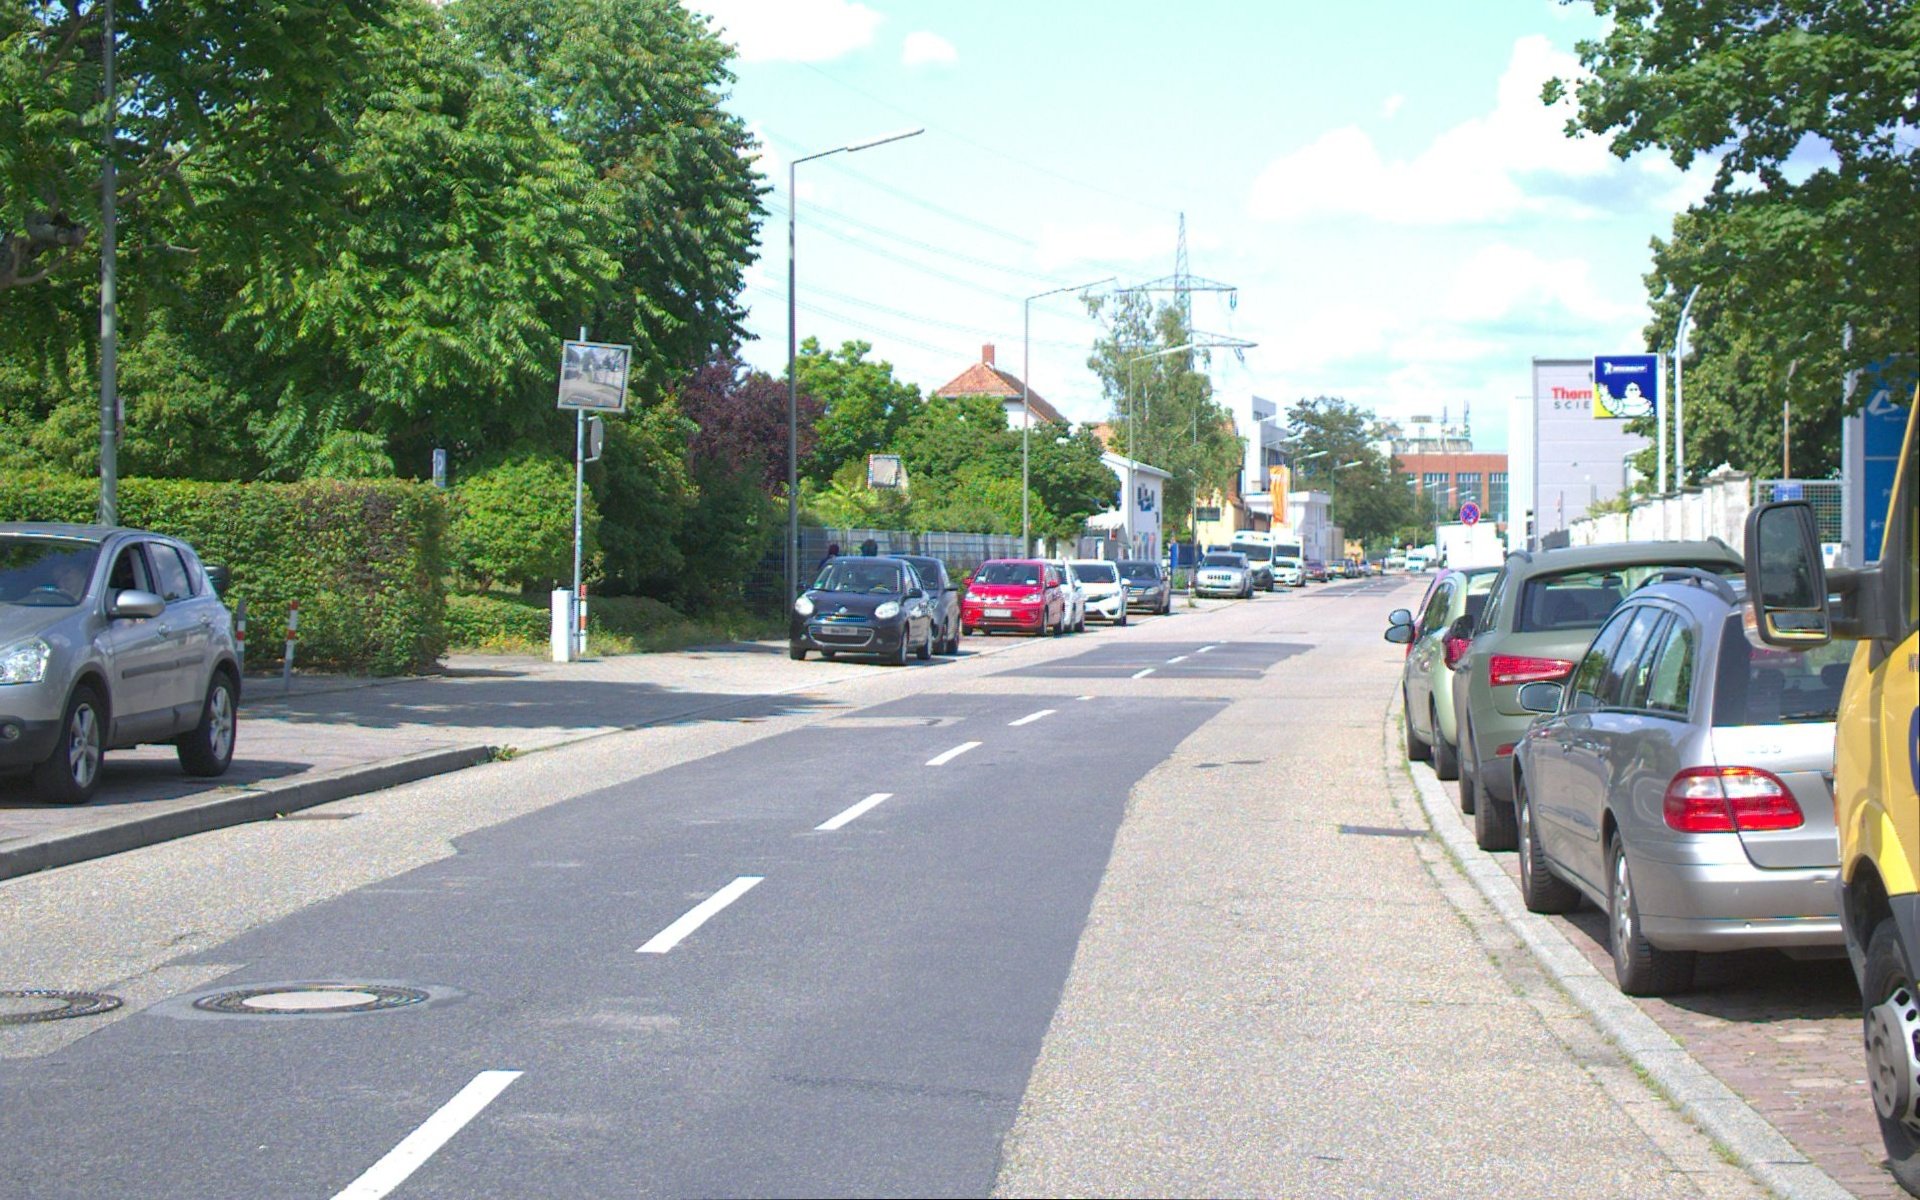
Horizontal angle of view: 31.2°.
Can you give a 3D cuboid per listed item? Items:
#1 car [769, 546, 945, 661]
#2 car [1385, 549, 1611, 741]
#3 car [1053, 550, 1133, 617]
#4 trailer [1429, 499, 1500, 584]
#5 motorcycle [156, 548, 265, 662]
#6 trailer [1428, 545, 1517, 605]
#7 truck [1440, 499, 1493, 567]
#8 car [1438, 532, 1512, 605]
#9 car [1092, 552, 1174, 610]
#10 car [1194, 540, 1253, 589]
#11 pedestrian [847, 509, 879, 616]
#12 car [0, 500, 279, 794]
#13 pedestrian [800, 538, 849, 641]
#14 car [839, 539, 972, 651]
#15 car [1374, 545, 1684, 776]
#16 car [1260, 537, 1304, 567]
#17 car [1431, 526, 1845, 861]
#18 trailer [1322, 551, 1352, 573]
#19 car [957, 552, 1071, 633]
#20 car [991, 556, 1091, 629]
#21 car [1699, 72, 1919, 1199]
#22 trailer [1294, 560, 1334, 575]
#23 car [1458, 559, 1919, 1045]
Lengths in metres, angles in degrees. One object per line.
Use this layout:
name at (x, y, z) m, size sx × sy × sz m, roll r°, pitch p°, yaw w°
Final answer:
car at (-1.455, 0.016, 50.279) m, size 1.845 × 1.503 × 3.999 m, roll 3°, pitch 1°, yaw 8°
car at (4.717, 0.344, 30.339) m, size 1.754 × 1.481 × 4.223 m, roll -3°, pitch 0°, yaw 8°
car at (3.136, -0.407, 80.529) m, size 1.620 × 1.517 × 4.175 m, roll 1°, pitch 1°, yaw 5°
trailer at (17.100, -1.959, 116.829) m, size 2.205 × 2.727 × 6.220 m, roll -3°, pitch 0°, yaw 8°
motorcycle at (-8.246, 0.040, 37.913) m, size 0.532 × 1.216 × 2.085 m, roll 0°, pitch 1°, yaw 6°
trailer at (13.033, -0.639, 87.591) m, size 1.749 × 1.412 × 4.549 m, roll -3°, pitch 0°, yaw 3°
truck at (26.334, -3.459, 178.536) m, size 2.459 × 3.282 × 6.815 m, roll -4°, pitch 0°, yaw 9°
car at (14.638, -0.912, 97.845) m, size 1.994 × 2.007 × 5.648 m, roll 0°, pitch 1°, yaw 8°
car at (4.657, -0.526, 92.109) m, size 1.805 × 1.414 × 4.495 m, roll 2°, pitch 1°, yaw 7°
car at (9.905, -1.355, 128.929) m, size 1.791 × 1.713 × 4.750 m, roll 3°, pitch 1°, yaw 8°
pedestrian at (-1.722, -0.663, 61.118) m, size 0.451 × 1.887 × 0.677 m, roll 1°, pitch 0°, yaw 8°
car at (-5.596, 0.213, 20.718) m, size 1.757 × 1.568 × 4.476 m, roll 1°, pitch 1°, yaw 5°
pedestrian at (-2.396, -0.186, 60.910) m, size 0.708 × 1.795 × 0.915 m, roll 1°, pitch 0°, yaw 8°
car at (-0.842, -0.104, 54.900) m, size 1.651 × 1.639 × 3.273 m, roll 3°, pitch 1°, yaw 6°
car at (4.095, 0.395, 25.278) m, size 1.699 × 1.481 × 3.807 m, roll -3°, pitch 0°, yaw 2°
car at (16.042, -2.385, 171.069) m, size 1.797 × 1.392 × 4.500 m, roll 2°, pitch 1°, yaw 10°
car at (3.737, 0.444, 19.667) m, size 1.833 × 1.602 × 4.567 m, roll -3°, pitch 0°, yaw 6°
trailer at (27.323, -2.735, 248.830) m, size 1.994 × 1.551 × 4.252 m, roll 1°, pitch 1°, yaw 8°
car at (1.079, -0.156, 66.847) m, size 1.667 × 1.462 × 3.742 m, roll 2°, pitch 1°, yaw 9°
car at (1.715, -0.168, 71.541) m, size 1.645 × 1.472 × 4.028 m, roll 1°, pitch 1°, yaw 7°
car at (3.006, 0.154, 6.110) m, size 2.157 × 2.456 × 6.639 m, roll -1°, pitch 1°, yaw 2°
trailer at (23.519, -2.175, 228.207) m, size 2.363 × 0.890 × 5.567 m, roll 2°, pitch 1°, yaw 8°
car at (3.199, 0.613, 13.493) m, size 1.875 × 1.472 × 5.168 m, roll -2°, pitch 1°, yaw 2°
